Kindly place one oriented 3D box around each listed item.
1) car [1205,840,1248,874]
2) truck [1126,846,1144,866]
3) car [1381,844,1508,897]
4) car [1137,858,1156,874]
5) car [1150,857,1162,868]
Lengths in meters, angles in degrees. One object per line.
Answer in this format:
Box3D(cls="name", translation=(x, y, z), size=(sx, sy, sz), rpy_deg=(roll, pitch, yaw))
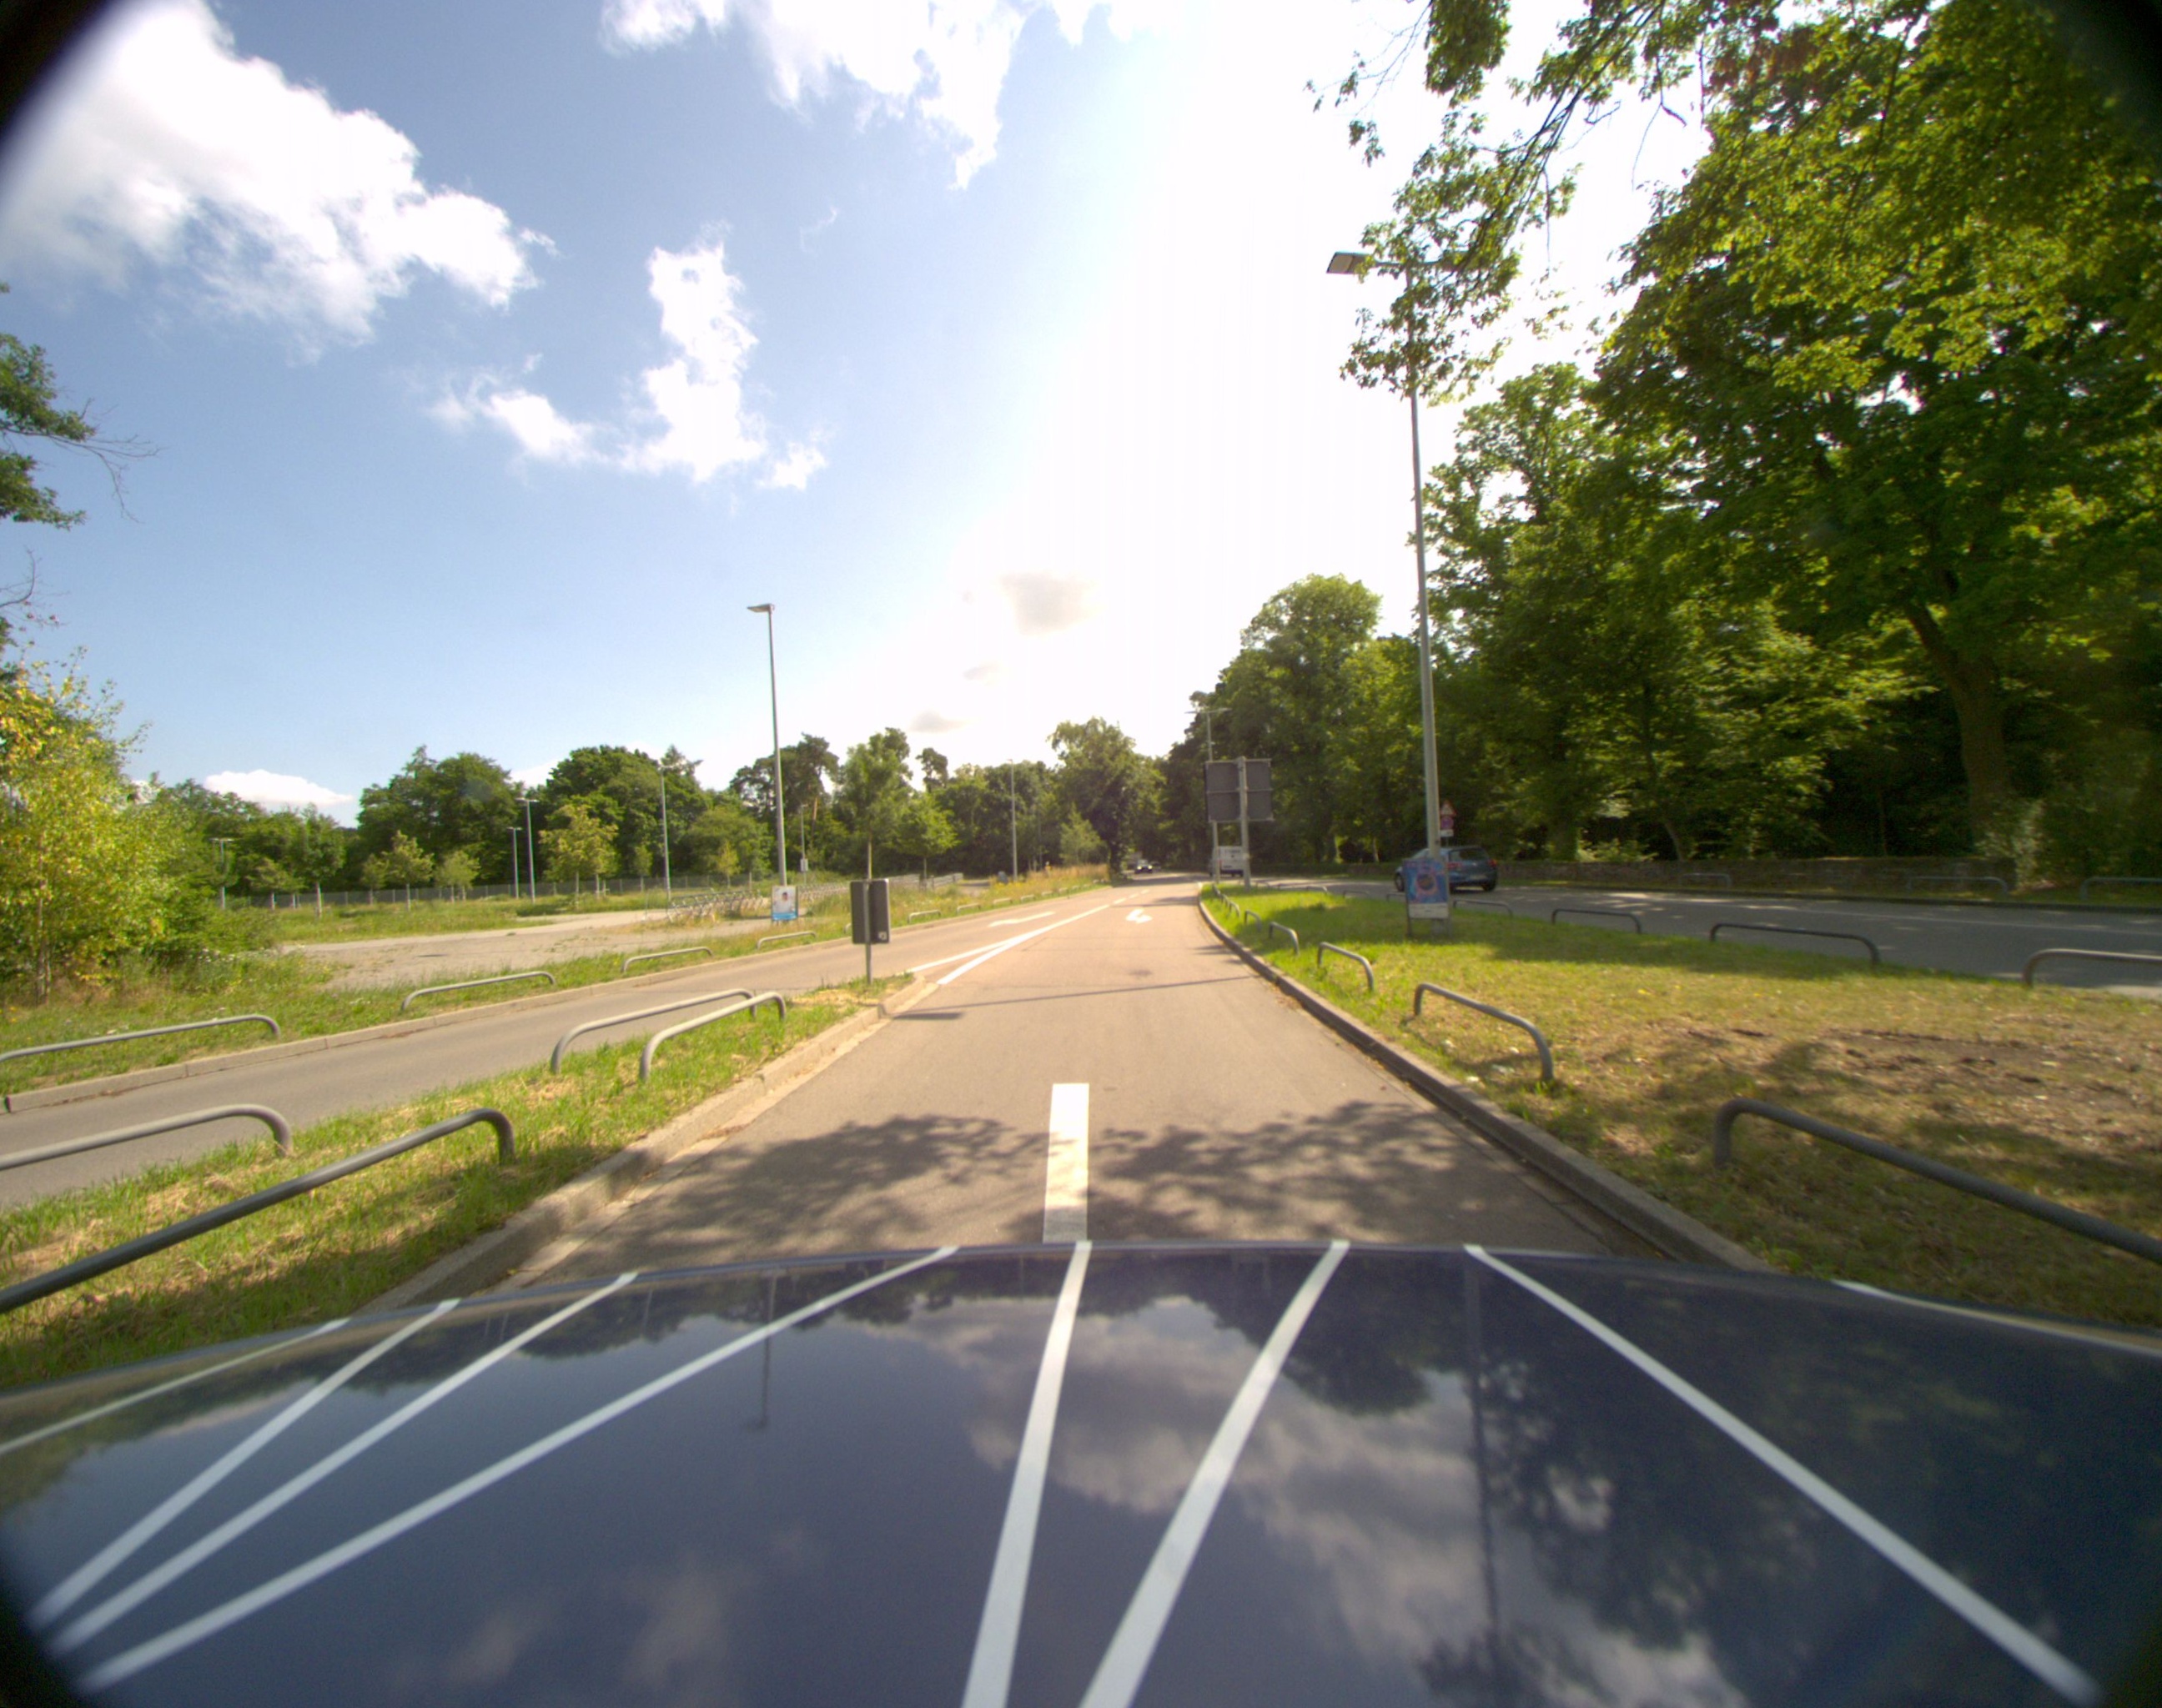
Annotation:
Box3D(cls="car", translation=(11.243, 0.217, 59.250), size=(1.980, 2.417, 5.361), rpy_deg=(-4, 1, -2))
Box3D(cls="truck", translation=(10.376, 0.283, 145.990), size=(2.914, 3.609, 7.004), rpy_deg=(-2, 1, 1))
Box3D(cls="car", translation=(11.521, 0.470, 24.416), size=(1.700, 1.438, 4.064), rpy_deg=(-4, 1, -6))
Box3D(cls="car", translation=(8.020, 1.480, 93.343), size=(1.980, 1.754, 4.708), rpy_deg=(-3, 1, 3))
Box3D(cls="car", translation=(11.534, 1.283, 117.192), size=(1.655, 1.461, 3.871), rpy_deg=(-2, 1, 3))
